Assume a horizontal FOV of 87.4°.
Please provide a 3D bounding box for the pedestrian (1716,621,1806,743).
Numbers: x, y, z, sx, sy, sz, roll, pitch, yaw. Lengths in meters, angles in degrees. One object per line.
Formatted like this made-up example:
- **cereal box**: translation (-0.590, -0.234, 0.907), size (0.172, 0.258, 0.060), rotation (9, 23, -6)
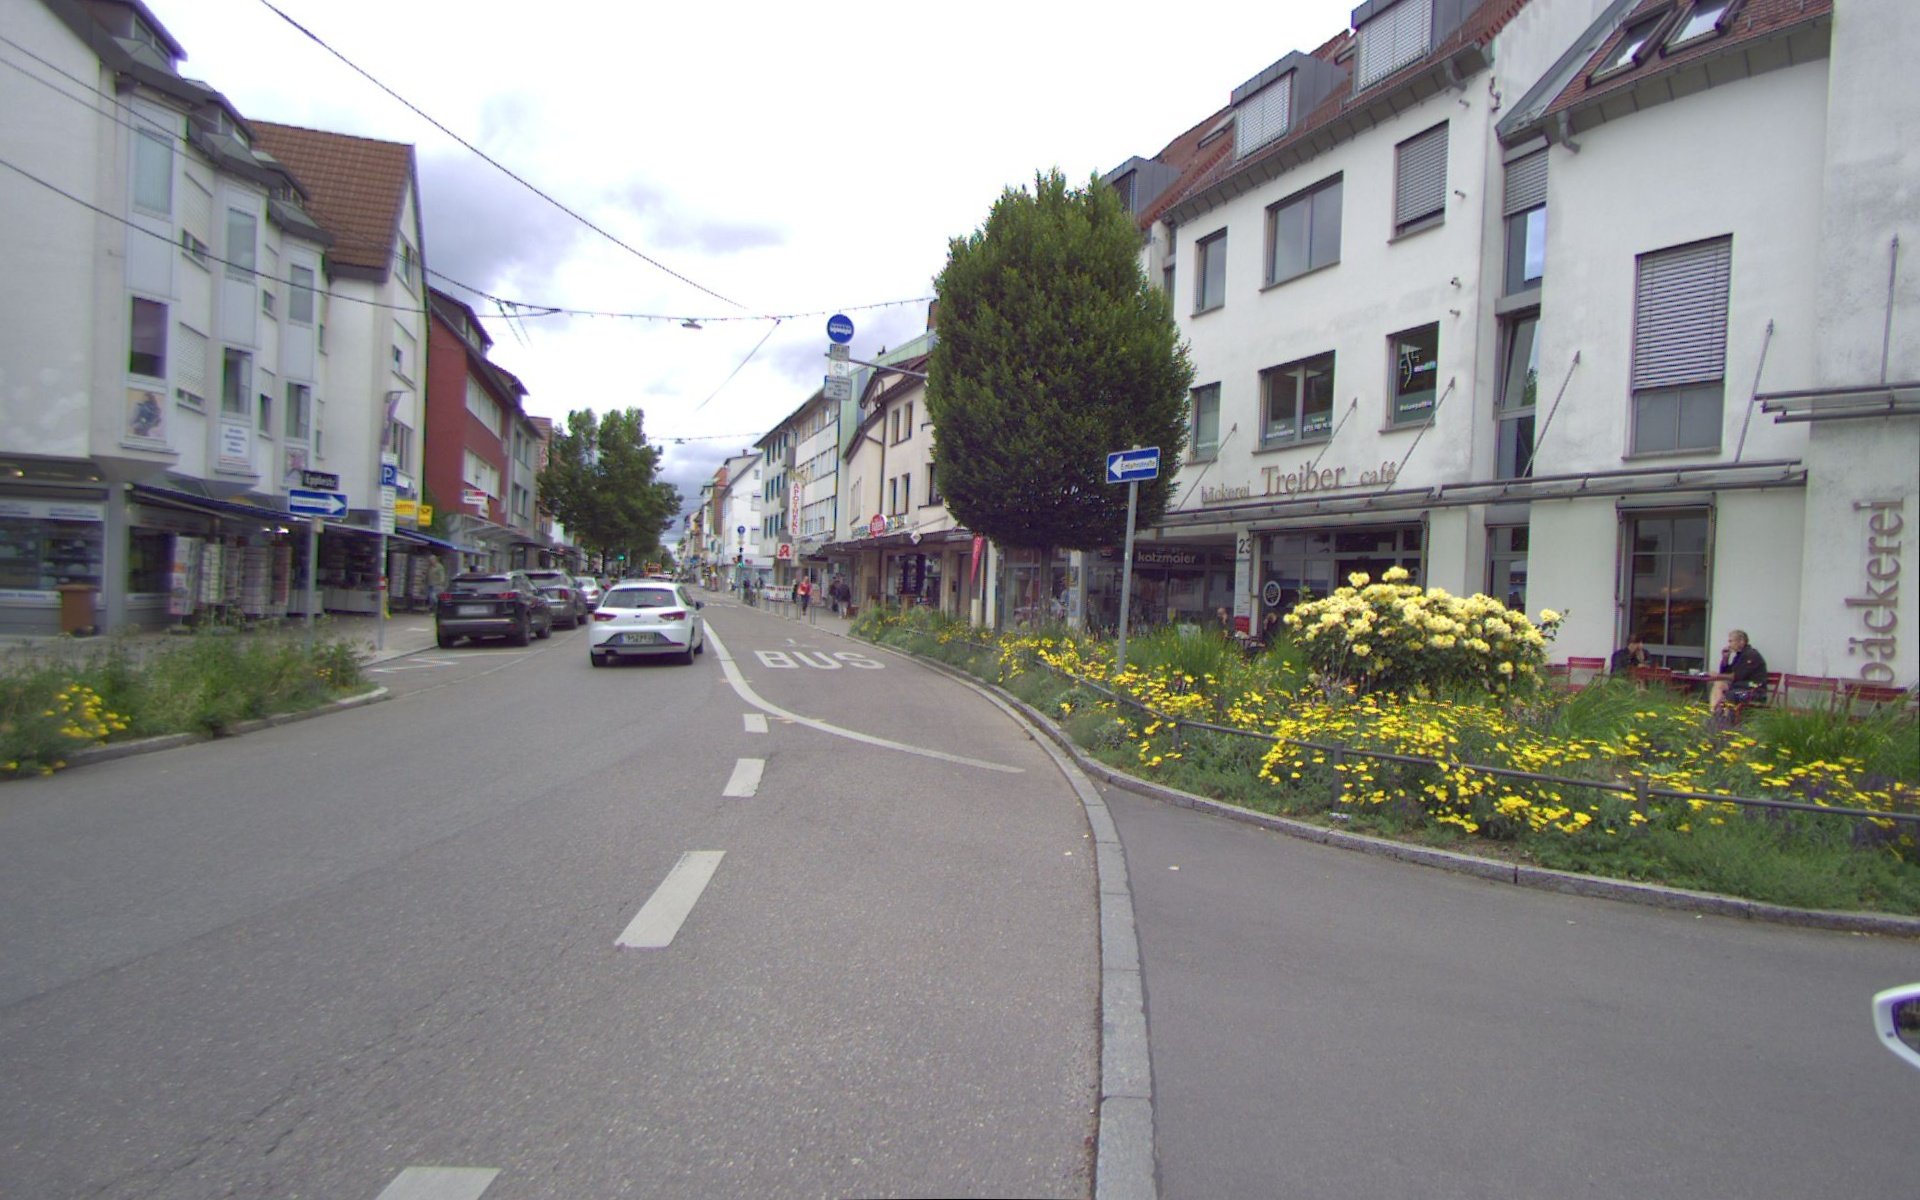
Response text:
- **pedestrian**: translation (9.537, 0.948, 11.956), size (0.690, 1.359, 0.650), rotation (1, 2, -38)

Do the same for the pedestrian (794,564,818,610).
- **pedestrian**: translation (-6.982, -0.609, 45.595), size (1.011, 2.041, 0.895), rotation (2, 1, -7)

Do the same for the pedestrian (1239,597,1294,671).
- **pedestrian**: translation (5.852, 0.646, 19.190), size (0.754, 1.335, 0.564), rotation (4, 1, -25)

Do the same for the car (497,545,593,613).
- **car**: translation (-11.848, -0.605, 28.968), size (1.967, 1.755, 4.412), rotation (1, 1, -15)

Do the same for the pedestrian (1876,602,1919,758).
- **pedestrian**: translation (9.977, 0.811, 10.291), size (0.860, 1.546, 0.695), rotation (1, 2, -38)

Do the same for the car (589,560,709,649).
- **car**: translation (-5.719, 0.013, 18.858), size (1.817, 1.453, 3.989), rotation (1, 2, -13)

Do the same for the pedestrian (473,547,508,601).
- **pedestrian**: translation (-18.230, -0.999, 39.029), size (1.089, 2.041, 1.009), rotation (1, 2, -18)

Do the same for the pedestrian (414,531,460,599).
- **pedestrian**: translation (-16.253, -1.073, 31.232), size (1.088, 2.041, 1.010), rotation (1, 2, -18)

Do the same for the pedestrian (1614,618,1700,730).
- **pedestrian**: translation (8.942, 0.921, 12.896), size (0.678, 1.350, 0.695), rotation (1, 2, -38)

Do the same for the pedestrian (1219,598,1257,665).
- **pedestrian**: translation (5.531, 0.627, 20.011), size (0.495, 1.288, 0.489), rotation (1, 2, -25)

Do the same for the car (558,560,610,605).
- **car**: translation (-14.912, -0.709, 39.986), size (1.551, 1.644, 3.986), rotation (1, 1, -16)

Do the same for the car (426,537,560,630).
- **car**: translation (-10.490, -0.379, 22.874), size (1.966, 1.879, 3.989), rotation (2, 1, -14)

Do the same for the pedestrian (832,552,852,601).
- **pedestrian**: translation (-4.966, -0.981, 42.264), size (0.660, 2.041, 0.632), rotation (1, 1, -21)
